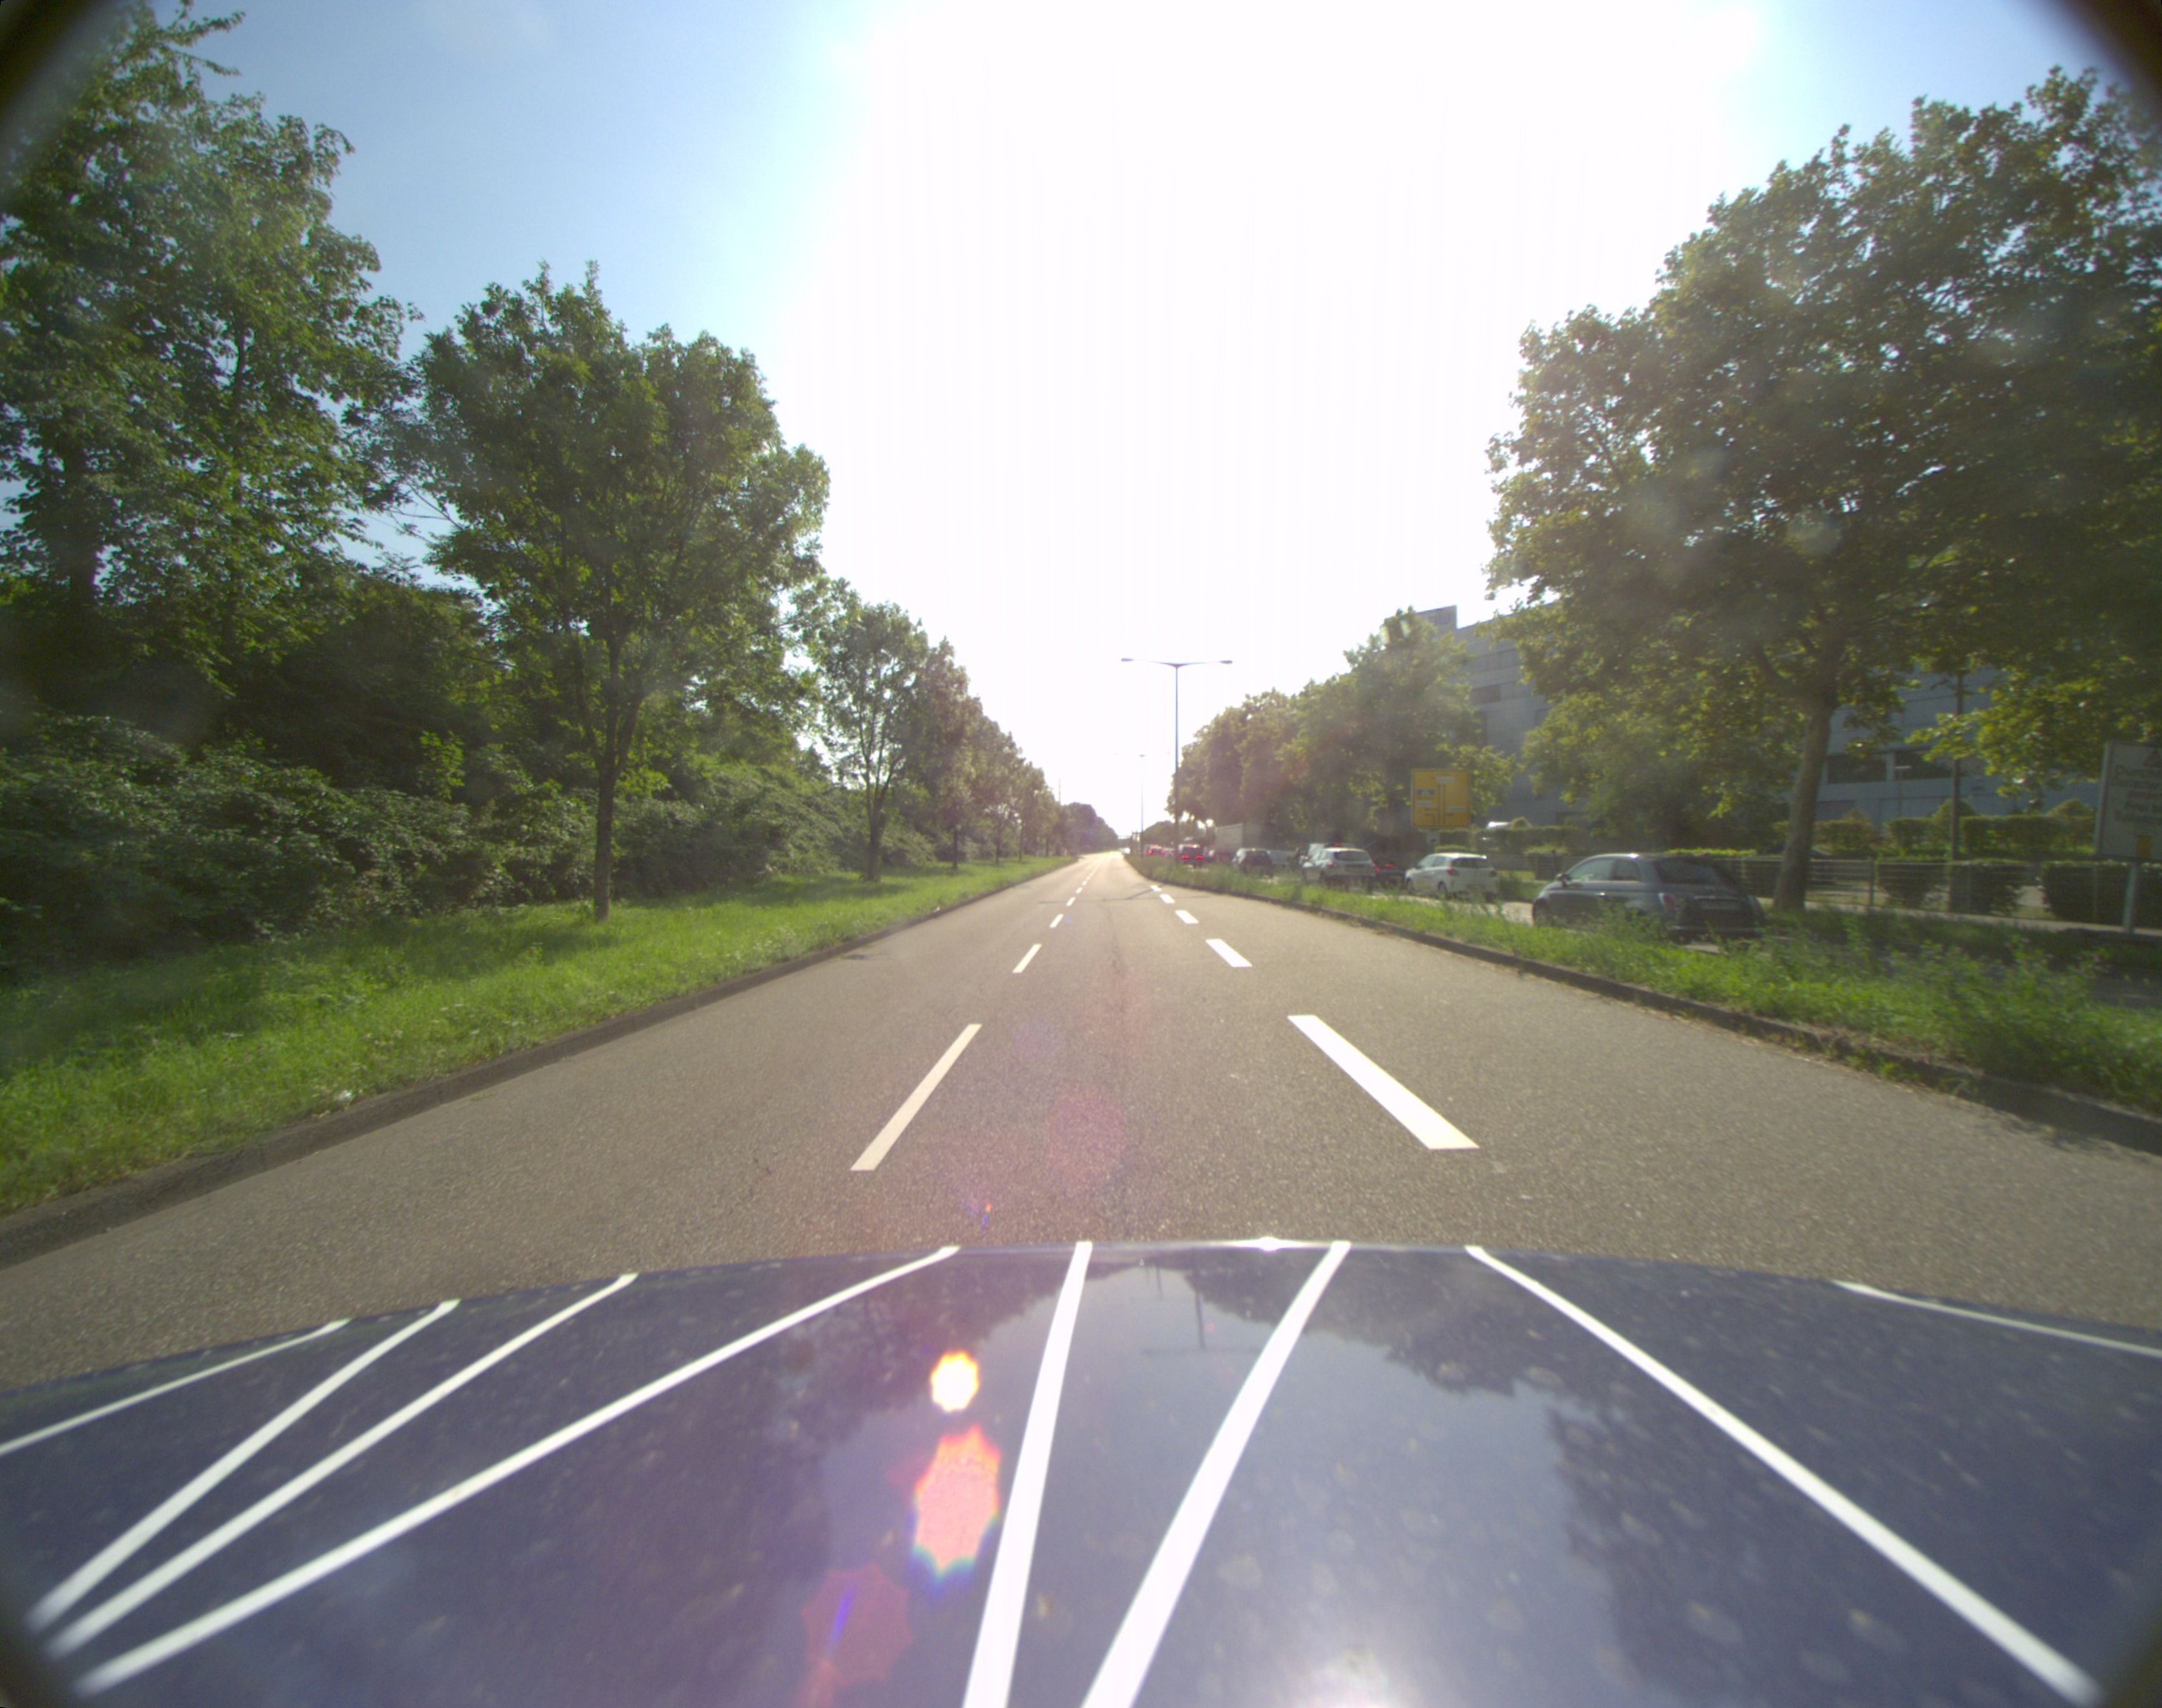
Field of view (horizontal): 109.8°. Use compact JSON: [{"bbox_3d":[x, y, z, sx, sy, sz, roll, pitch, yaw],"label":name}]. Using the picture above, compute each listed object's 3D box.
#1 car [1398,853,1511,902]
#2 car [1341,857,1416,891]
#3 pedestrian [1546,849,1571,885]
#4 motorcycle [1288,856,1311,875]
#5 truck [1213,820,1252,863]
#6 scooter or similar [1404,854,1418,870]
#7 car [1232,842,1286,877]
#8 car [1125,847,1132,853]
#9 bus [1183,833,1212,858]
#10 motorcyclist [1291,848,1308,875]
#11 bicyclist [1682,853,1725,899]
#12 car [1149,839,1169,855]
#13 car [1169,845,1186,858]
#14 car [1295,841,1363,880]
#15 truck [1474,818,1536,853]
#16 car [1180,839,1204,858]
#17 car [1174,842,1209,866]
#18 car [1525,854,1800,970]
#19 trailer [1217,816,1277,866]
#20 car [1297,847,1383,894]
[{"bbox_3d":[12.113,0.707,24.941,1.795,1.473,4.000,0,1,1],"label":"car"},{"bbox_3d":[12.436,0.789,31.998,1.794,1.255,4.096,1,1,4],"label":"car"},{"bbox_3d":[22.774,0.611,36.269,0.618,1.643,0.934,-1,1,2],"label":"pedestrian"},{"bbox_3d":[13.139,0.668,45.826,0.796,1.101,2.468,-1,1,3],"label":"motorcycle"},{"bbox_3d":[14.198,-1.143,71.742,2.614,3.798,5.891,1,1,2],"label":"truck"},{"bbox_3d":[24.166,0.590,55.653,0.510,1.121,1.381,-1,1,4],"label":"scooter or similar"},{"bbox_3d":[9.616,0.248,41.432,1.998,1.749,4.307,2,1,1],"label":"car"},{"bbox_3d":[11.366,-1.012,181.965,1.544,1.433,3.397,0,-1,6],"label":"car"},{"bbox_3d":[15.698,-1.159,103.461,2.596,3.062,12.313,-1,1,3],"label":"bus"},{"bbox_3d":[13.131,0.441,45.717,0.779,1.545,0.922,-1,1,3],"label":"motorcyclist"},{"bbox_3d":[19.655,0.680,24.020,0.649,1.431,0.840,0,1,2],"label":"bicyclist"},{"bbox_3d":[8.661,-0.777,84.761,1.958,1.714,4.587,1,0,2],"label":"car"},{"bbox_3d":[11.742,-0.272,92.548,1.698,1.520,4.140,1,1,2],"label":"car"},{"bbox_3d":[12.680,0.287,39.166,1.989,1.848,4.969,1,1,2],"label":"car"},{"bbox_3d":[35.758,-1.563,64.032,5.915,2.844,2.233,-1,1,-35],"label":"truck"},{"bbox_3d":[11.773,-0.638,80.643,1.998,1.942,5.036,0,1,2],"label":"car"},{"bbox_3d":[8.391,0.003,58.005,1.999,1.749,4.476,0,1,0],"label":"car"},{"bbox_3d":[8.770,0.775,11.868,1.680,1.477,3.492,-1,1,1],"label":"car"},{"bbox_3d":[13.982,-1.075,65.318,2.639,3.800,13.812,1,1,2],"label":"trailer"},{"bbox_3d":[9.472,0.555,28.093,1.884,1.584,4.108,0,1,2],"label":"car"}]
